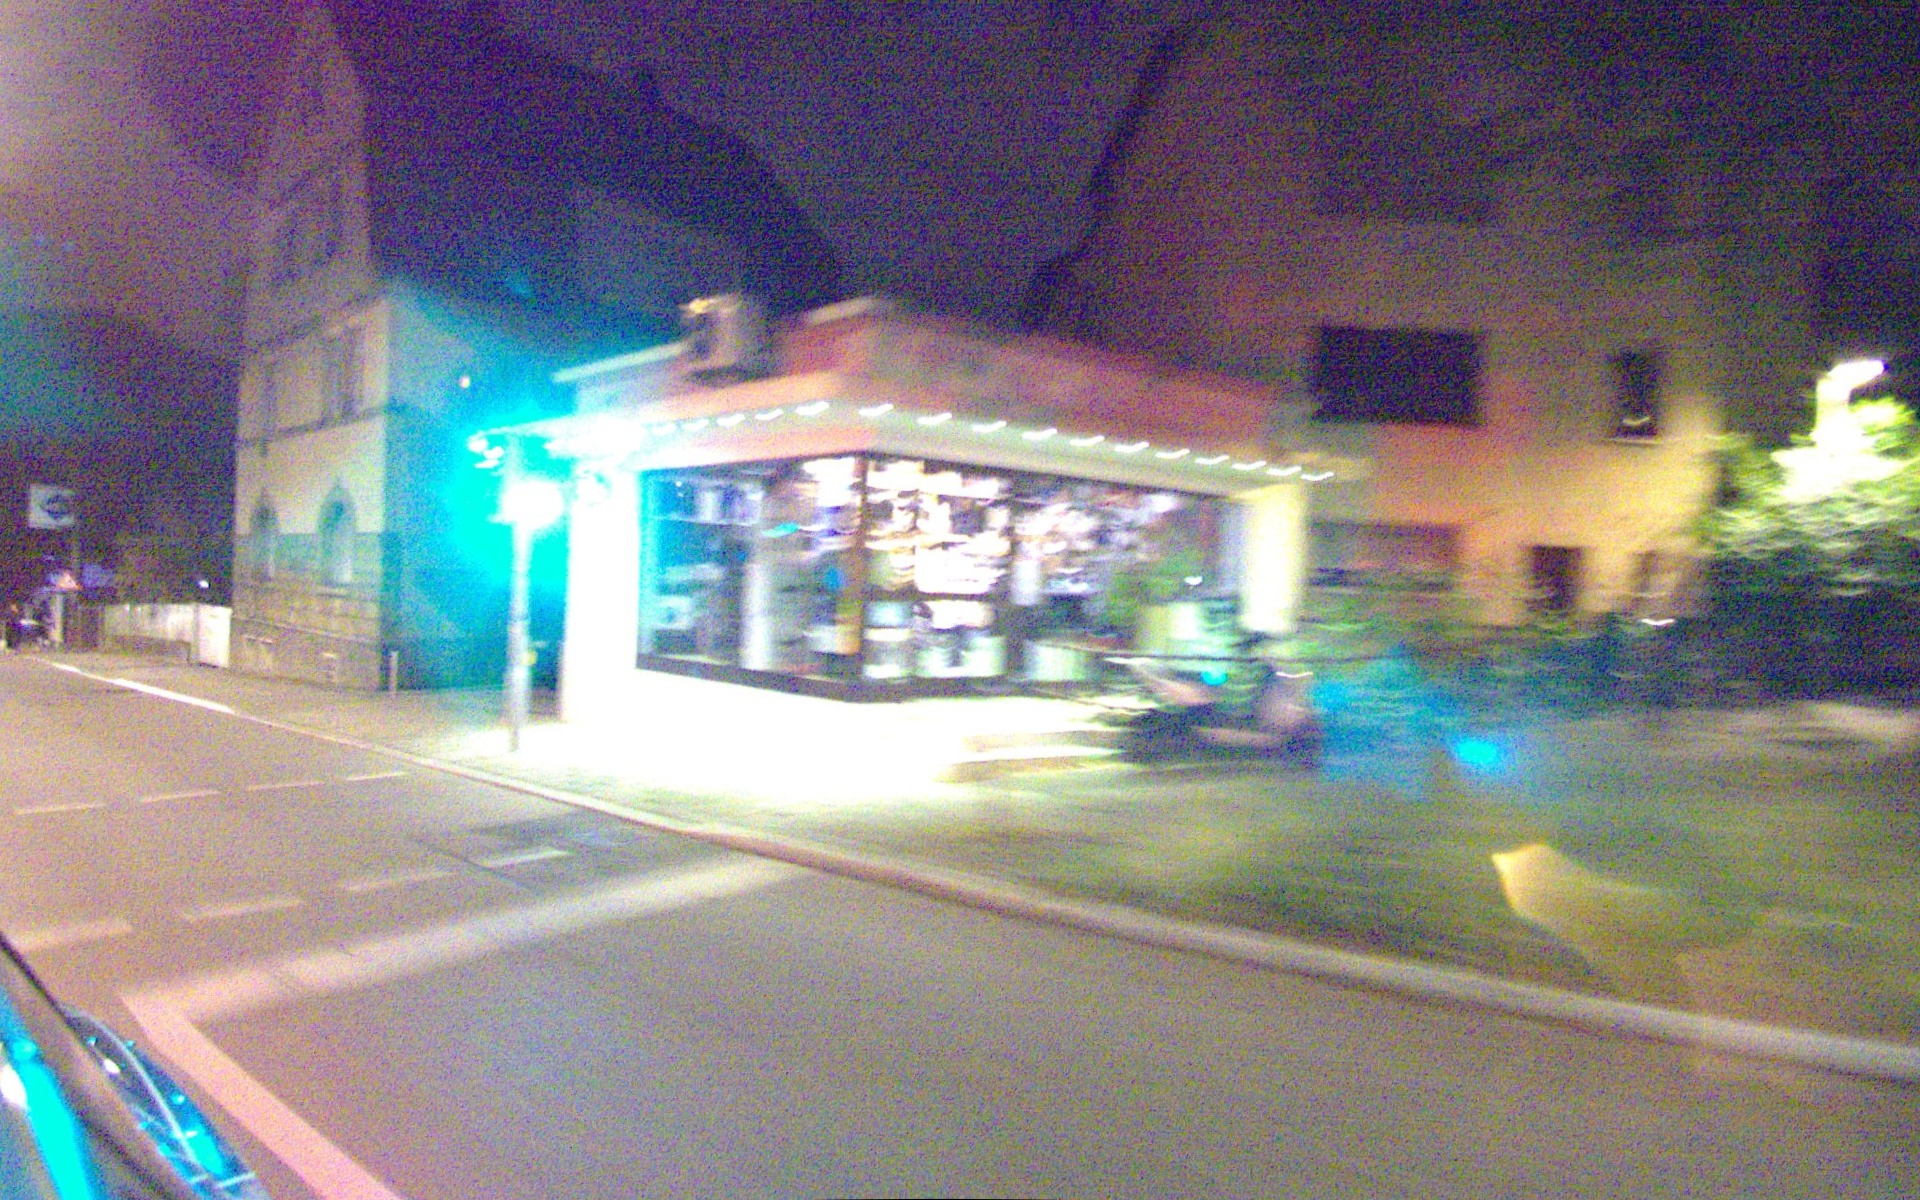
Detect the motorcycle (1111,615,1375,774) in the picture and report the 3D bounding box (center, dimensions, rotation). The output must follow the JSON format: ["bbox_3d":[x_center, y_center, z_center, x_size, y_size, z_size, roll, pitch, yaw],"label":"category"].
[{"bbox_3d":[2.336,0.765,8.470,2.010,1.238,0.619,-1,0,-3],"label":"motorcycle"}]

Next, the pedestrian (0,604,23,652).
[{"bbox_3d":[-33.343,0.968,35.507,0.748,1.654,0.640,-1,-1,44],"label":"pedestrian"}]

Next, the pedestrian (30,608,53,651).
[{"bbox_3d":[-33.137,1.056,36.507,0.589,1.541,0.553,-1,-1,42],"label":"pedestrian"}]

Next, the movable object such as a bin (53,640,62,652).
[{"bbox_3d":[-32.818,1.660,36.808,0.466,0.410,0.228,-1,-1,44],"label":"movable object such as a bin"}]

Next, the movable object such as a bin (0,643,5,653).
[{"bbox_3d":[-34.319,1.717,36.188,0.466,0.354,0.228,-1,-1,44],"label":"movable object such as a bin"}]

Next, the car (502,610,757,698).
[{"bbox_3d":[-5.754,0.909,17.986,1.802,1.374,3.946,-1,-2,40],"label":"car"}]
